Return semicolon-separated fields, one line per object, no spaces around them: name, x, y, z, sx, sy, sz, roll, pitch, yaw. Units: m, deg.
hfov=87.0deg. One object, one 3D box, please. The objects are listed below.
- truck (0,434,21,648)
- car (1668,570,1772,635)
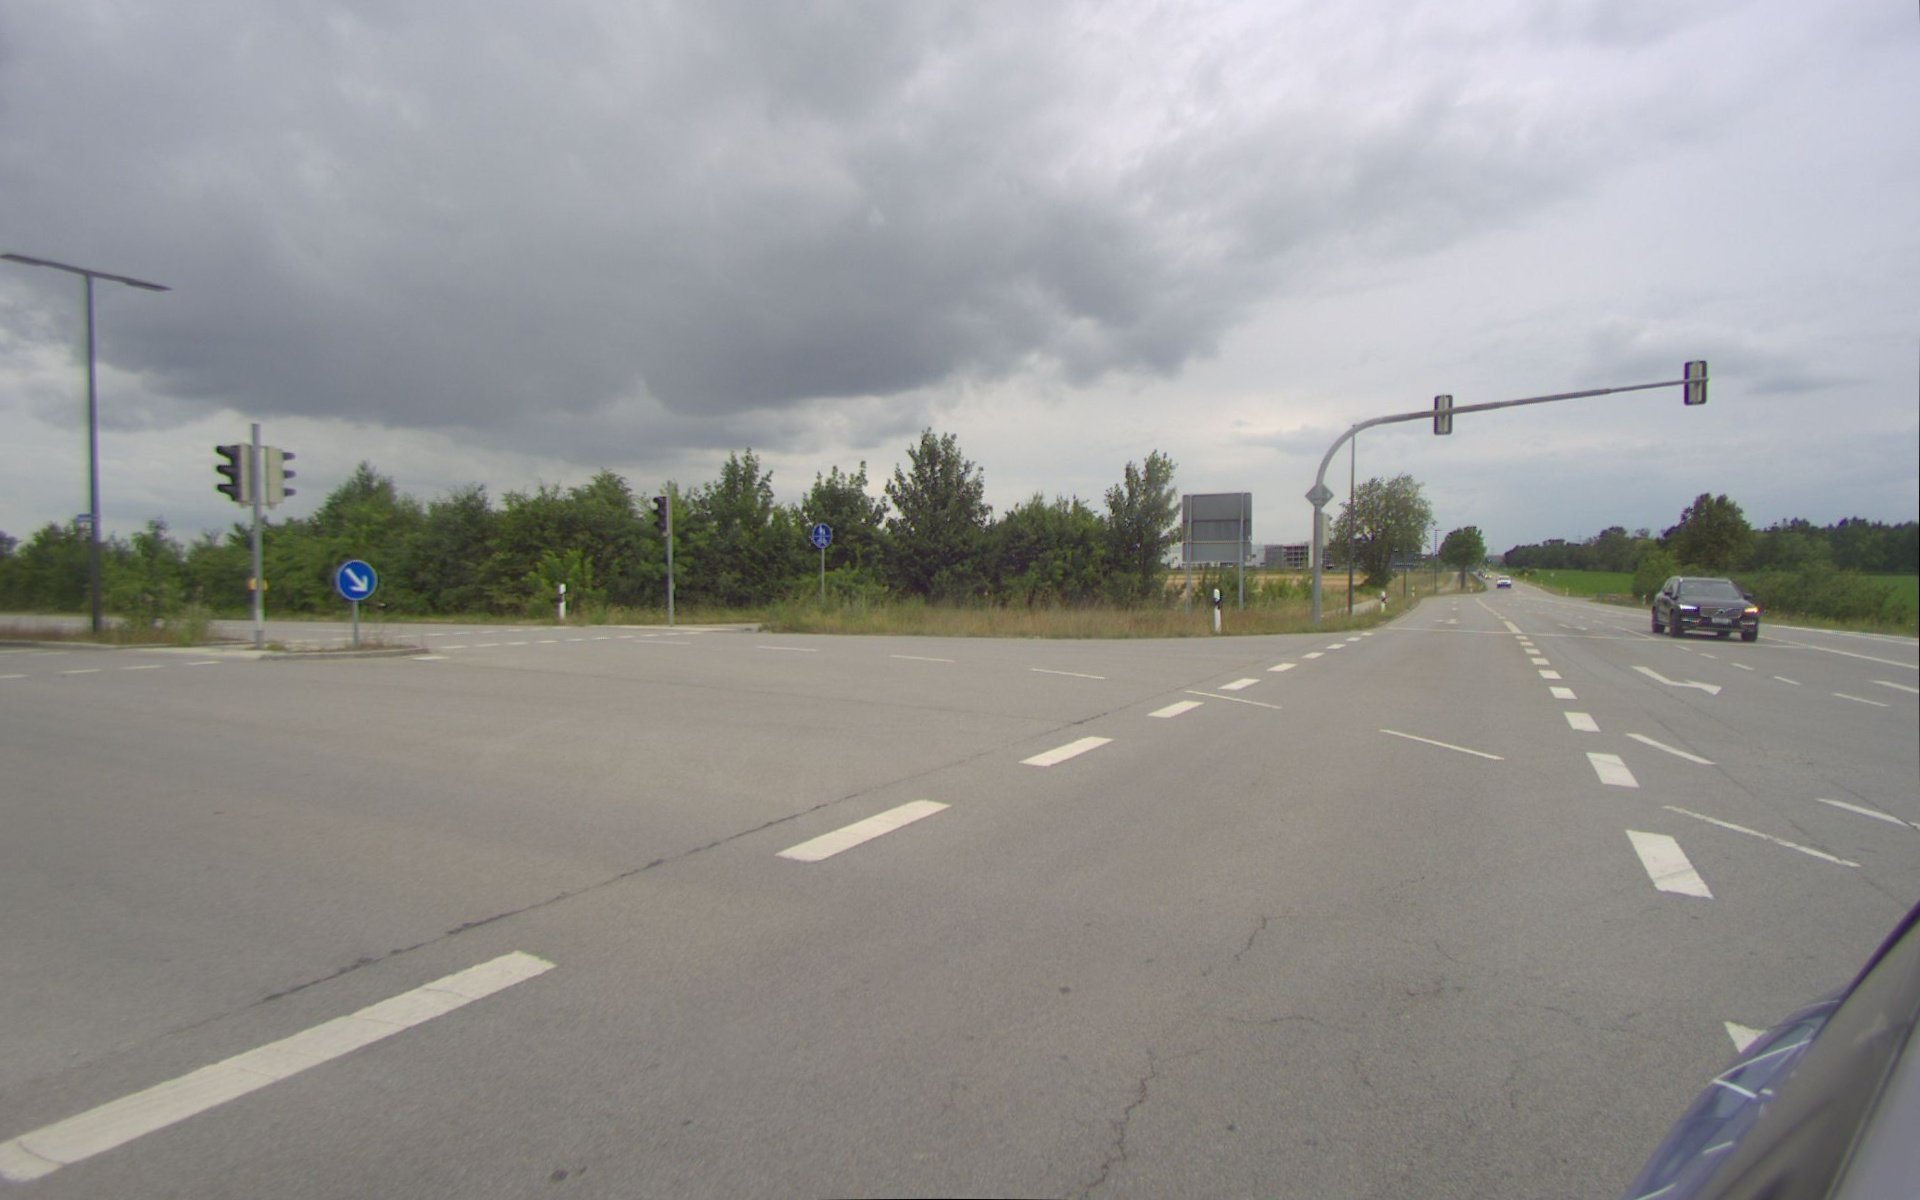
truck;-19.793;-0.902;16.998;8.559;3.450;2.856;0;2;25
car;21.889;-0.010;29.318;1.986;1.704;4.941;2;2;33
